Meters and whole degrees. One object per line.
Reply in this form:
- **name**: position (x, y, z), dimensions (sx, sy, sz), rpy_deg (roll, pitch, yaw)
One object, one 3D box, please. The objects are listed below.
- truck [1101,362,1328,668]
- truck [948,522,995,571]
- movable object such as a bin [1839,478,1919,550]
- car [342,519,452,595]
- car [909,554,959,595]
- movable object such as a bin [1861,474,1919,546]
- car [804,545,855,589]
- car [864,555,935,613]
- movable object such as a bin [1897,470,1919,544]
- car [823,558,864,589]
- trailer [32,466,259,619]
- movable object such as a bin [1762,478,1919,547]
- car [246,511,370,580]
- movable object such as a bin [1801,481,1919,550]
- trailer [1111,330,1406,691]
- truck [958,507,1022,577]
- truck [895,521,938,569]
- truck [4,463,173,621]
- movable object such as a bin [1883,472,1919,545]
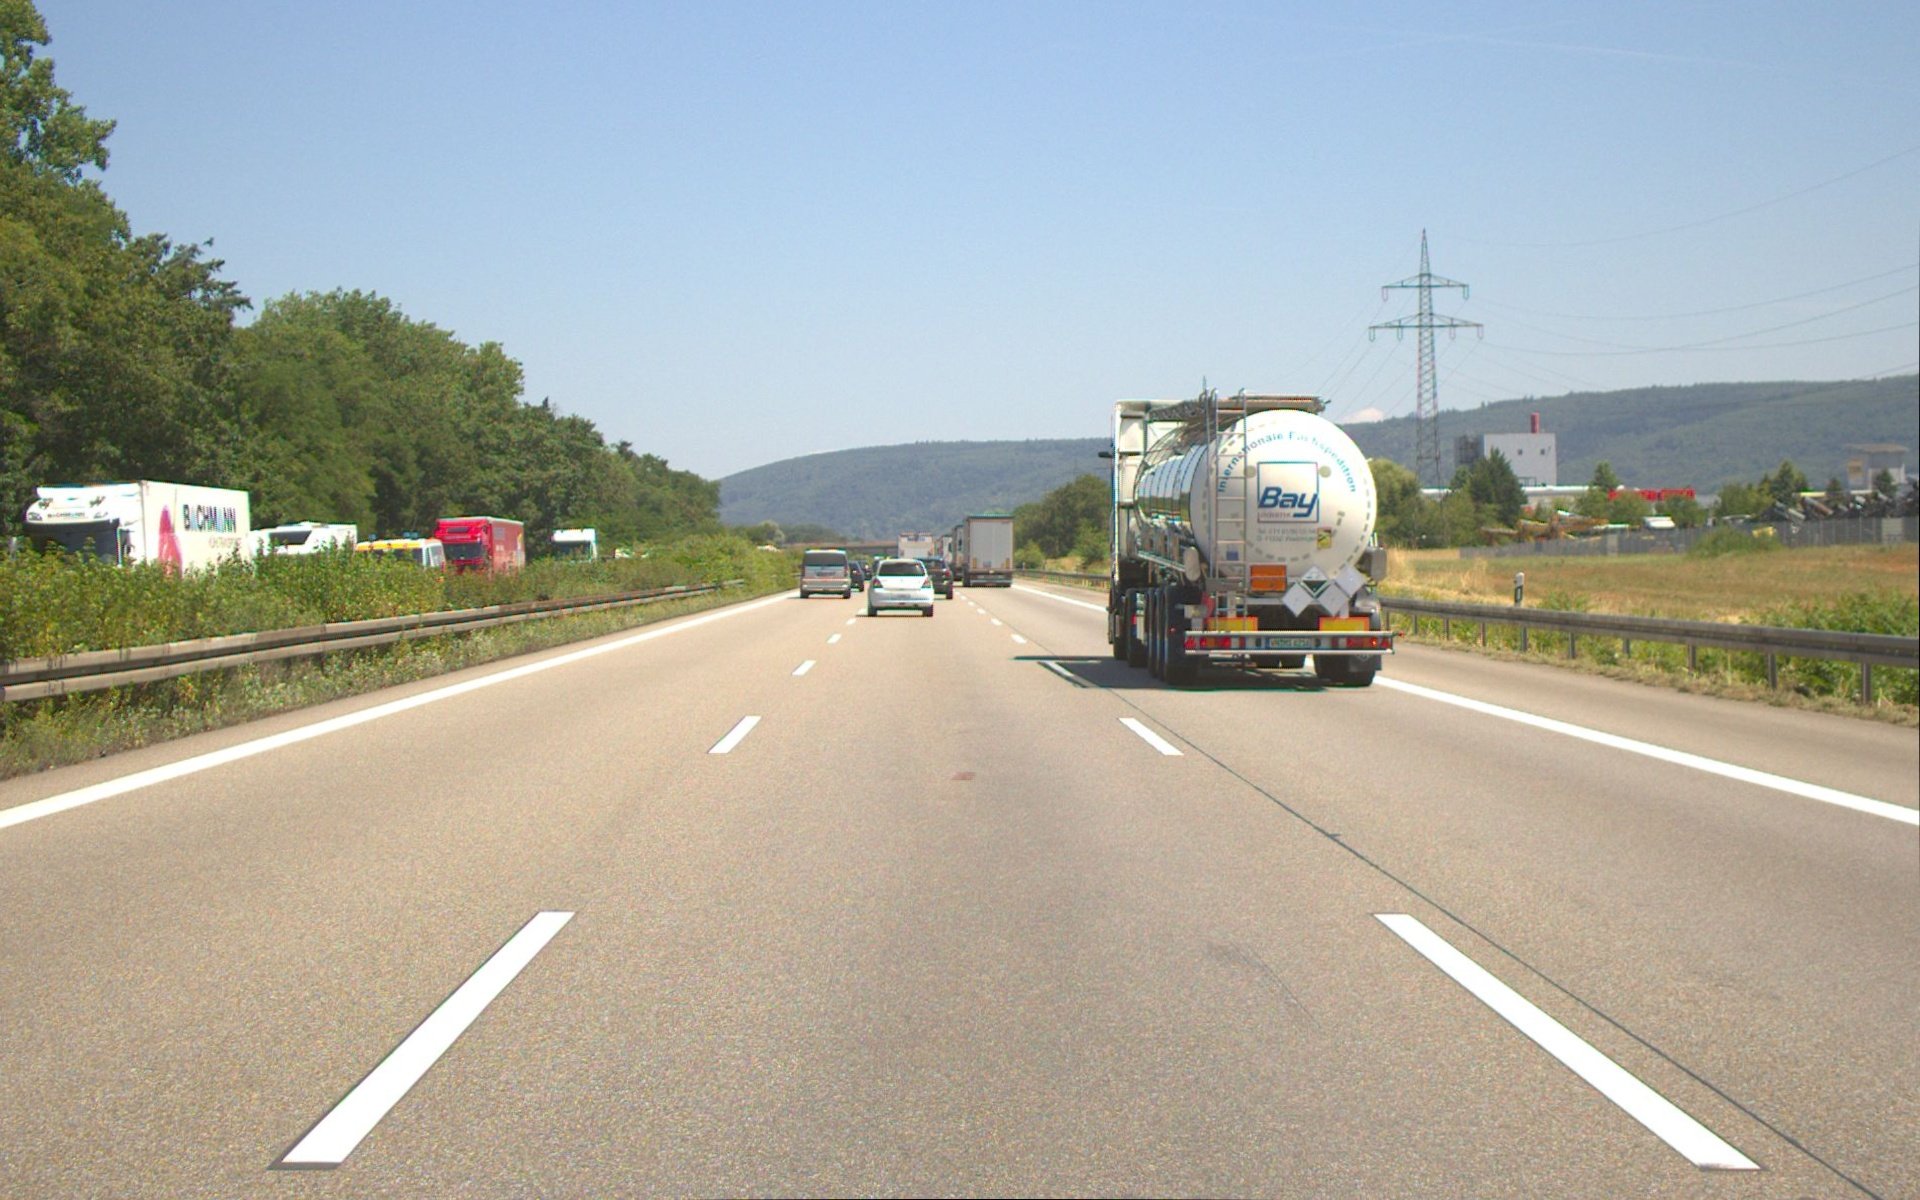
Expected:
- **truck**: position (3.548, -1.192, 49.319), dimensions (2.573, 4.058, 6.393), rpy_deg (1, 1, -1)
- **truck**: position (0.820, -3.932, 251.835), dimensions (3.097, 3.462, 11.543), rpy_deg (1, 1, -1)
- **movable object such as a bin**: position (52.806, -4.761, 186.060), dimensions (9.717, 3.677, 2.633), rpy_deg (-2, 1, 2)
- **car**: position (-13.948, -1.080, 85.402), dimensions (2.092, 1.774, 5.462), rpy_deg (1, 1, -3)
- **car**: position (-1.004, -1.002, 132.049), dimensions (1.885, 1.510, 4.000), rpy_deg (1, 1, -1)
- **movable object such as a bin**: position (53.021, -4.906, 182.164), dimensions (9.717, 3.676, 2.976), rpy_deg (-2, 1, 2)
- **car**: position (-5.044, -1.285, 133.195), dimensions (1.852, 1.627, 4.000), rpy_deg (1, 1, -1)
- **car**: position (-1.594, -0.431, 91.511), dimensions (1.806, 1.463, 4.000), rpy_deg (1, 1, -1)
- **movable object such as a bin**: position (52.528, -4.851, 173.172), dimensions (9.718, 3.677, 3.418), rpy_deg (-2, 1, 6)
- **car**: position (-5.482, -1.277, 162.332), dimensions (1.835, 1.382, 4.000), rpy_deg (1, 1, -1)
- **trailer**: position (-21.342, -1.522, 91.083), dimensions (2.825, 3.697, 13.929), rpy_deg (1, 1, -1)
- **movable object such as a bin**: position (52.200, -5.115, 200.219), dimensions (10.253, 3.677, 2.394), rpy_deg (-2, 1, -1)
- **car**: position (-17.639, -1.475, 93.237), dimensions (2.302, 1.774, 5.424), rpy_deg (1, 1, 0)
- **movable object such as a bin**: position (53.288, -4.881, 196.252), dimensions (9.716, 3.677, 2.679), rpy_deg (-2, 1, -1)
- **trailer**: position (3.635, -1.112, 44.623), dimensions (2.580, 4.060, 11.104), rpy_deg (1, 1, -1)
- **truck**: position (1.662, -3.298, 195.357), dimensions (3.265, 3.844, 11.632), rpy_deg (1, 1, -1)
- **truck**: position (-3.275, -4.091, 254.979), dimensions (3.097, 3.462, 11.543), rpy_deg (1, 1, -1)
- **truck**: position (-21.293, -1.416, 84.264), dimensions (2.795, 3.708, 5.117), rpy_deg (1, 1, 0)
- **movable object such as a bin**: position (52.755, -4.845, 176.734), dimensions (9.718, 3.677, 2.976), rpy_deg (-2, 1, 6)
